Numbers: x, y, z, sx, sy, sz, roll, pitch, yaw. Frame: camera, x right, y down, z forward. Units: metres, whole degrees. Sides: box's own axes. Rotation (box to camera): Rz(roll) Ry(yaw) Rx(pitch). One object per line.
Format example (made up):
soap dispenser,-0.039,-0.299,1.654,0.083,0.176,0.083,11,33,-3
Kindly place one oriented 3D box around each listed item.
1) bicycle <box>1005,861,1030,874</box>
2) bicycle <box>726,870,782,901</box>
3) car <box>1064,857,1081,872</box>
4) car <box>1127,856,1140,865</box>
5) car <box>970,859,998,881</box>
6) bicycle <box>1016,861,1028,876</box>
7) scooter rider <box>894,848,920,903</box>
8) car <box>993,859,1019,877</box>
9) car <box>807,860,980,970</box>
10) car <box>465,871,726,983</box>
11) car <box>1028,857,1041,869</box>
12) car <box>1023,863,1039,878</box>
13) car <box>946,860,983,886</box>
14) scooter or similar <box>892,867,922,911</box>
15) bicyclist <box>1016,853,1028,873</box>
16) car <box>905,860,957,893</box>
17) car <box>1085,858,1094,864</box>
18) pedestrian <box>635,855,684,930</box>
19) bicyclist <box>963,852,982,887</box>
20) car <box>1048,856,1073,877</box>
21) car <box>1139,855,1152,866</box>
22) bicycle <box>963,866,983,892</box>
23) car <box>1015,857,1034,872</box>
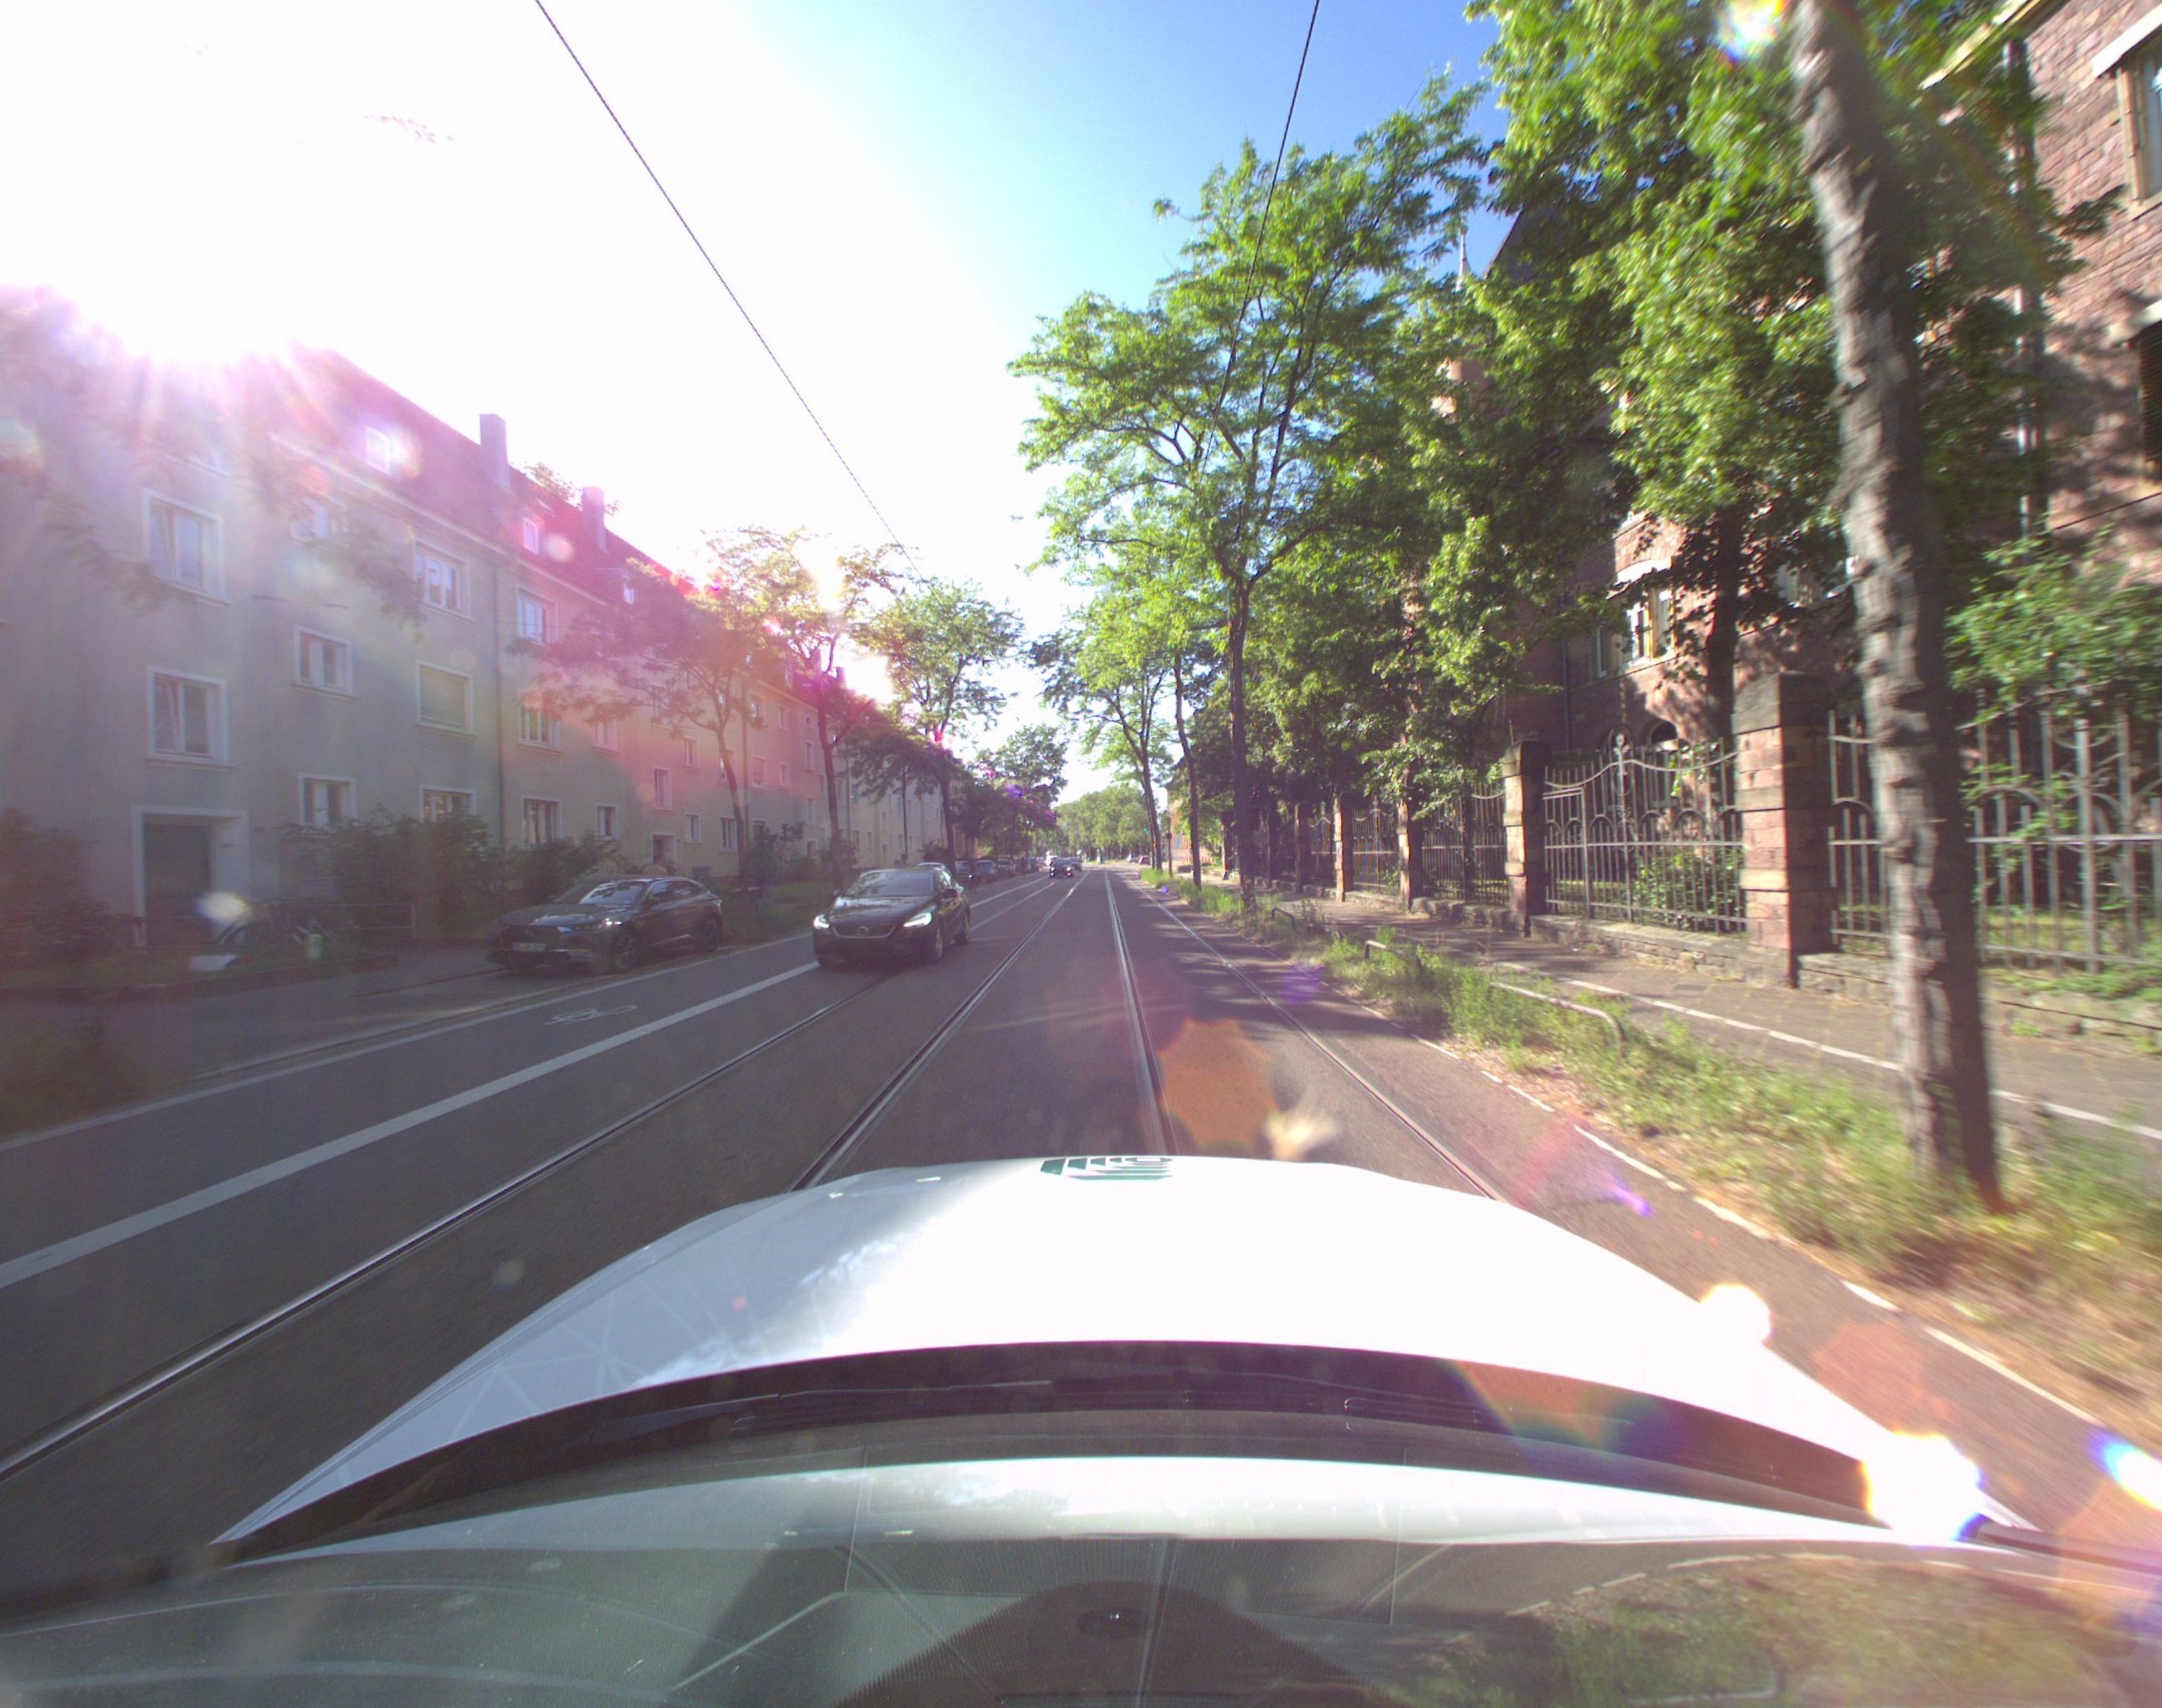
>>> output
bicycle,-5.987,1.259,77.104,2.272,1.198,0.561,1,1,8
bicycle,-12.515,1.205,31.211,1.901,1.177,0.521,0,0,-1
car,-0.851,1.095,84.031,1.694,1.471,4.071,-1,0,0
car,9.836,1.156,152.722,1.939,1.610,3.994,-2,0,-4
car,-6.897,1.106,58.444,1.555,1.457,3.929,1,0,-1
bicycle,-4.816,1.171,66.927,0.692,1.177,1.914,-4,0,1
scooter rider,-5.617,0.684,26.278,0.495,1.699,0.787,-5,0,1
car,-6.454,1.204,70.363,1.739,1.490,4.323,1,0,0
car,-2.862,0.857,13.452,1.752,1.439,4.523,-1,0,0
car,-7.882,1.092,13.790,1.810,1.485,4.207,-1,0,1
car,-5.741,1.079,100.213,1.578,1.488,3.609,1,0,-3
car,-5.804,1.959,95.286,1.741,1.660,4.386,1,0,-3
car,-6.977,1.103,49.052,1.681,1.485,3.760,1,0,0
scooter or similar,-5.583,1.112,26.235,0.518,1.297,1.378,-5,0,1
bicyclist,-4.851,0.717,66.990,0.707,1.607,0.865,-4,0,1
car,-7.319,1.061,40.117,1.696,1.485,4.080,1,0,1
car,2.291,1.814,211.088,1.939,1.610,3.994,-2,0,-4
pedestrian,-10.406,0.938,20.125,0.689,1.801,0.813,-2,0,1
bicyclist,-5.330,0.757,40.069,0.624,1.639,0.940,-4,0,1
car,-1.535,0.908,61.384,1.694,1.439,4.071,-1,0,0
car,10.624,1.067,135.124,1.833,1.655,3.578,-2,0,-1
bicycle,-5.295,1.191,40.056,0.624,1.177,1.914,-4,0,1
car,-5.983,1.073,86.754,1.740,1.569,4.067,1,0,-1
